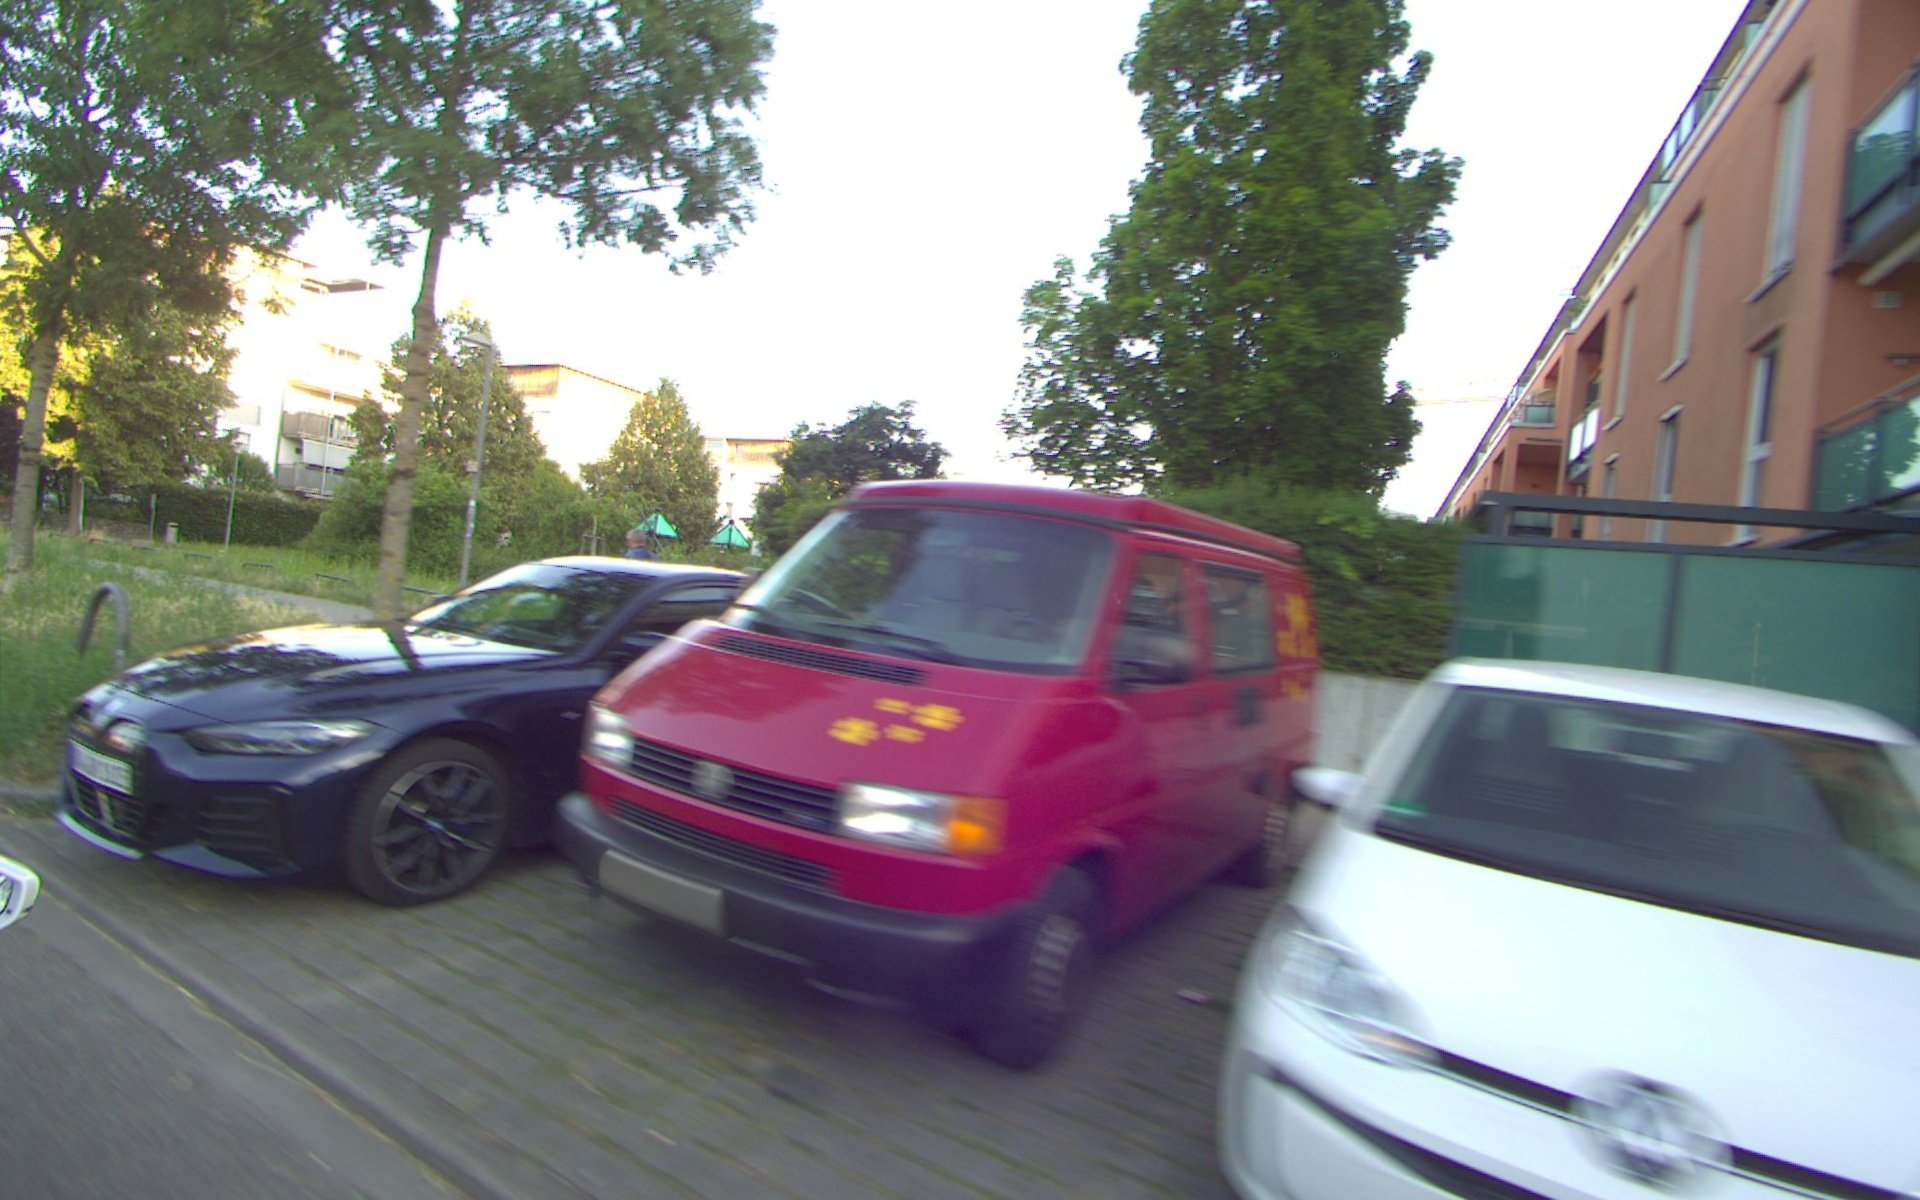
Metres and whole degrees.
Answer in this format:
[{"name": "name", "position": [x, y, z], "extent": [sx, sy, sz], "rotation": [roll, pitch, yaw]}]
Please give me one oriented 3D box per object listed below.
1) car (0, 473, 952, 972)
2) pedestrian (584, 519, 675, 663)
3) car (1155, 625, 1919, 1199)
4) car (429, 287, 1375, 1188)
[{"name": "car", "position": [-2.062, 0.511, 5.741], "extent": [1.781, 1.575, 4.676], "rotation": [7, -1, 30]}, {"name": "pedestrian", "position": [-4.300, -0.111, 13.103], "extent": [0.688, 1.765, 0.669], "rotation": [7, 1, 32]}, {"name": "car", "position": [2.035, 0.937, 3.126], "extent": [1.589, 1.484, 3.527], "rotation": [6, 1, 32]}, {"name": "car", "position": [0.420, 0.428, 4.991], "extent": [1.984, 2.143, 4.924], "rotation": [6, -1, 33]}]
